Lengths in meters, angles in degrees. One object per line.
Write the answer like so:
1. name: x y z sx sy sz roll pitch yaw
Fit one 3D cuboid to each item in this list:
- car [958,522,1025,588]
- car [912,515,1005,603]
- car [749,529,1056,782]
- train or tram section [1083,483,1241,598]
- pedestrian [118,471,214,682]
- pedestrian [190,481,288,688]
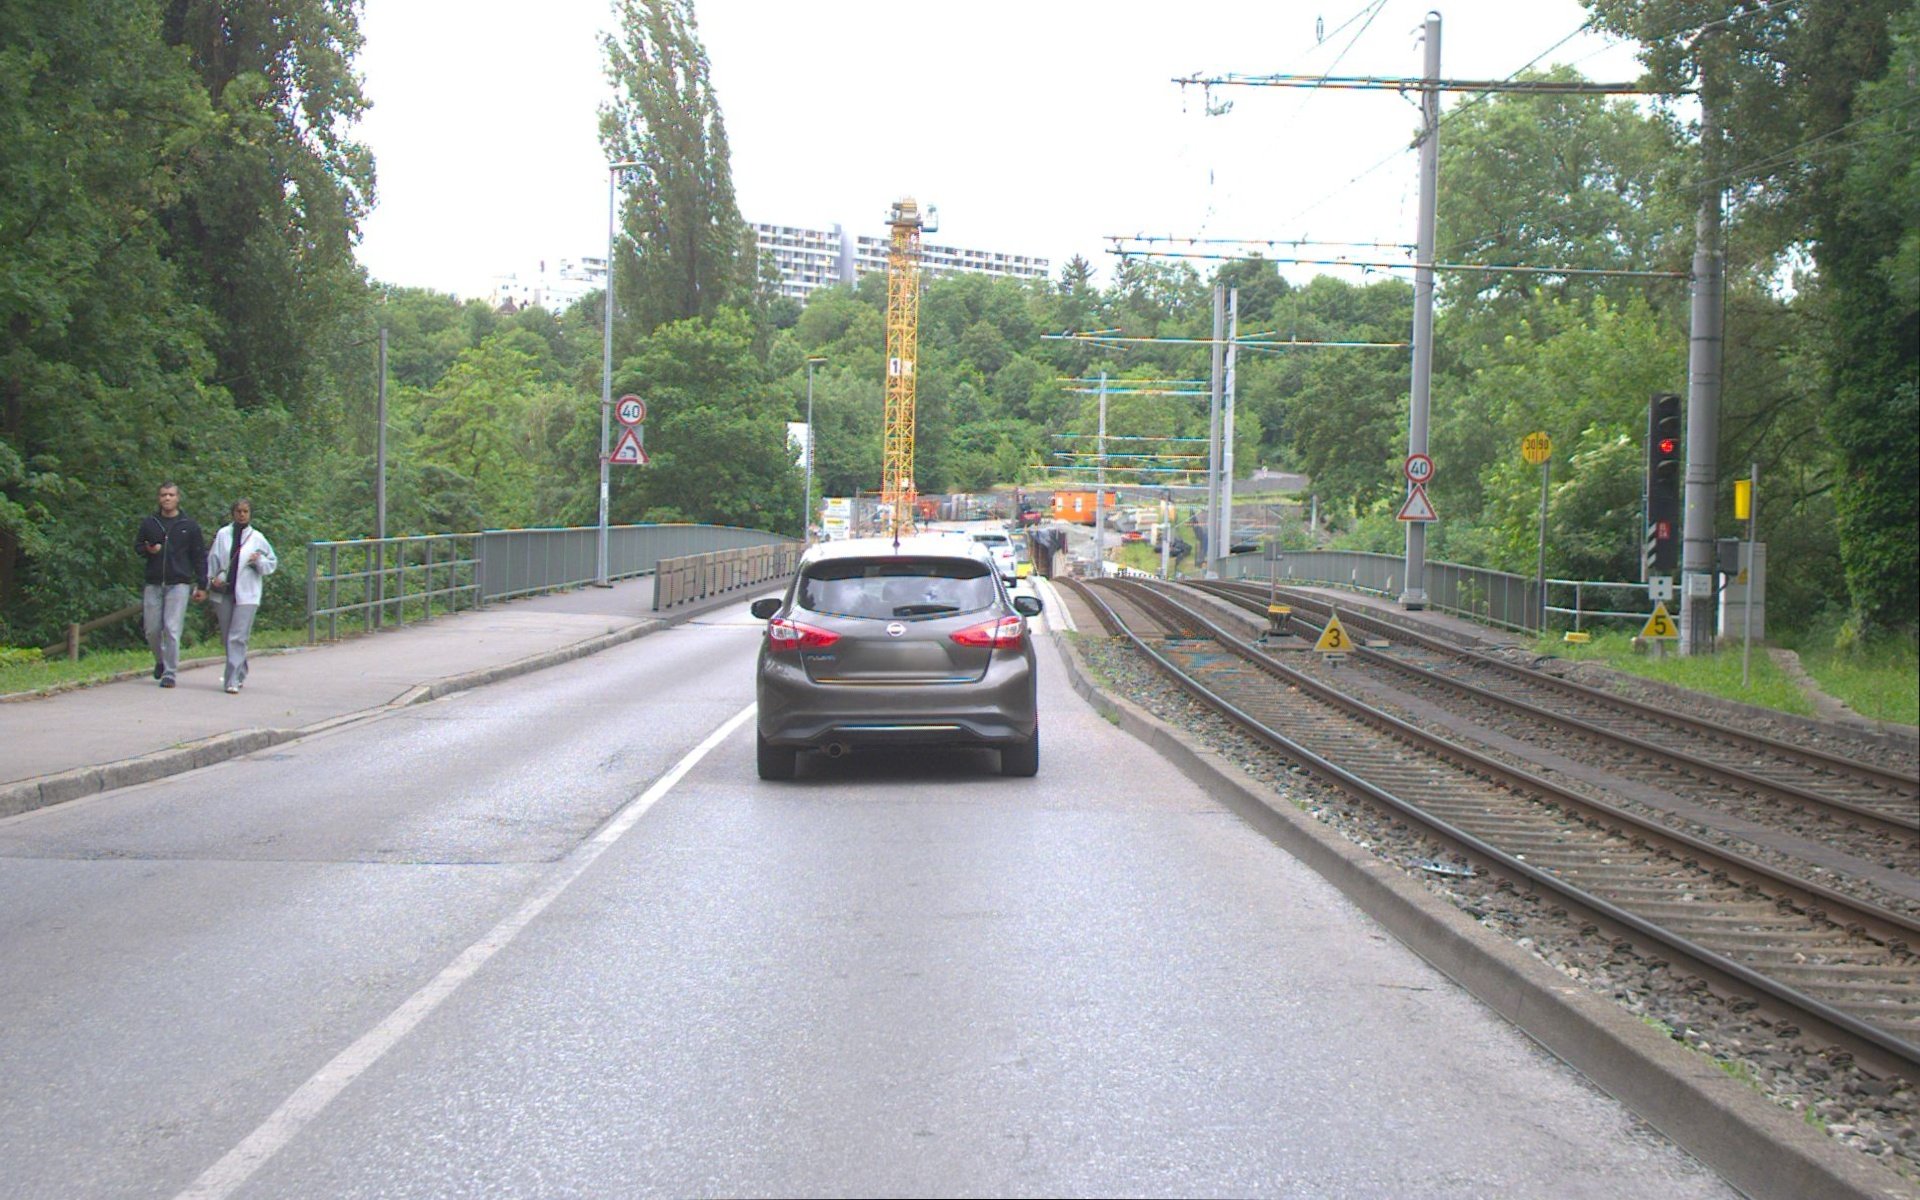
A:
1. car: 0.847 -1.210 90.293 1.680 1.601 4.309 2 2 1
2. car: -0.057 -0.845 68.724 1.680 1.601 4.309 3 1 -1
3. car: -0.433 0.302 22.768 1.829 1.504 4.001 1 1 -2
4. train or tram section: 10.003 -2.825 174.690 3.027 5.164 23.060 3 -1 -9
5. pedestrian: -6.963 -0.211 30.174 0.587 1.797 0.822 3 1 -1
6. pedestrian: -6.327 -0.144 30.209 0.551 1.759 0.858 5 1 -1
